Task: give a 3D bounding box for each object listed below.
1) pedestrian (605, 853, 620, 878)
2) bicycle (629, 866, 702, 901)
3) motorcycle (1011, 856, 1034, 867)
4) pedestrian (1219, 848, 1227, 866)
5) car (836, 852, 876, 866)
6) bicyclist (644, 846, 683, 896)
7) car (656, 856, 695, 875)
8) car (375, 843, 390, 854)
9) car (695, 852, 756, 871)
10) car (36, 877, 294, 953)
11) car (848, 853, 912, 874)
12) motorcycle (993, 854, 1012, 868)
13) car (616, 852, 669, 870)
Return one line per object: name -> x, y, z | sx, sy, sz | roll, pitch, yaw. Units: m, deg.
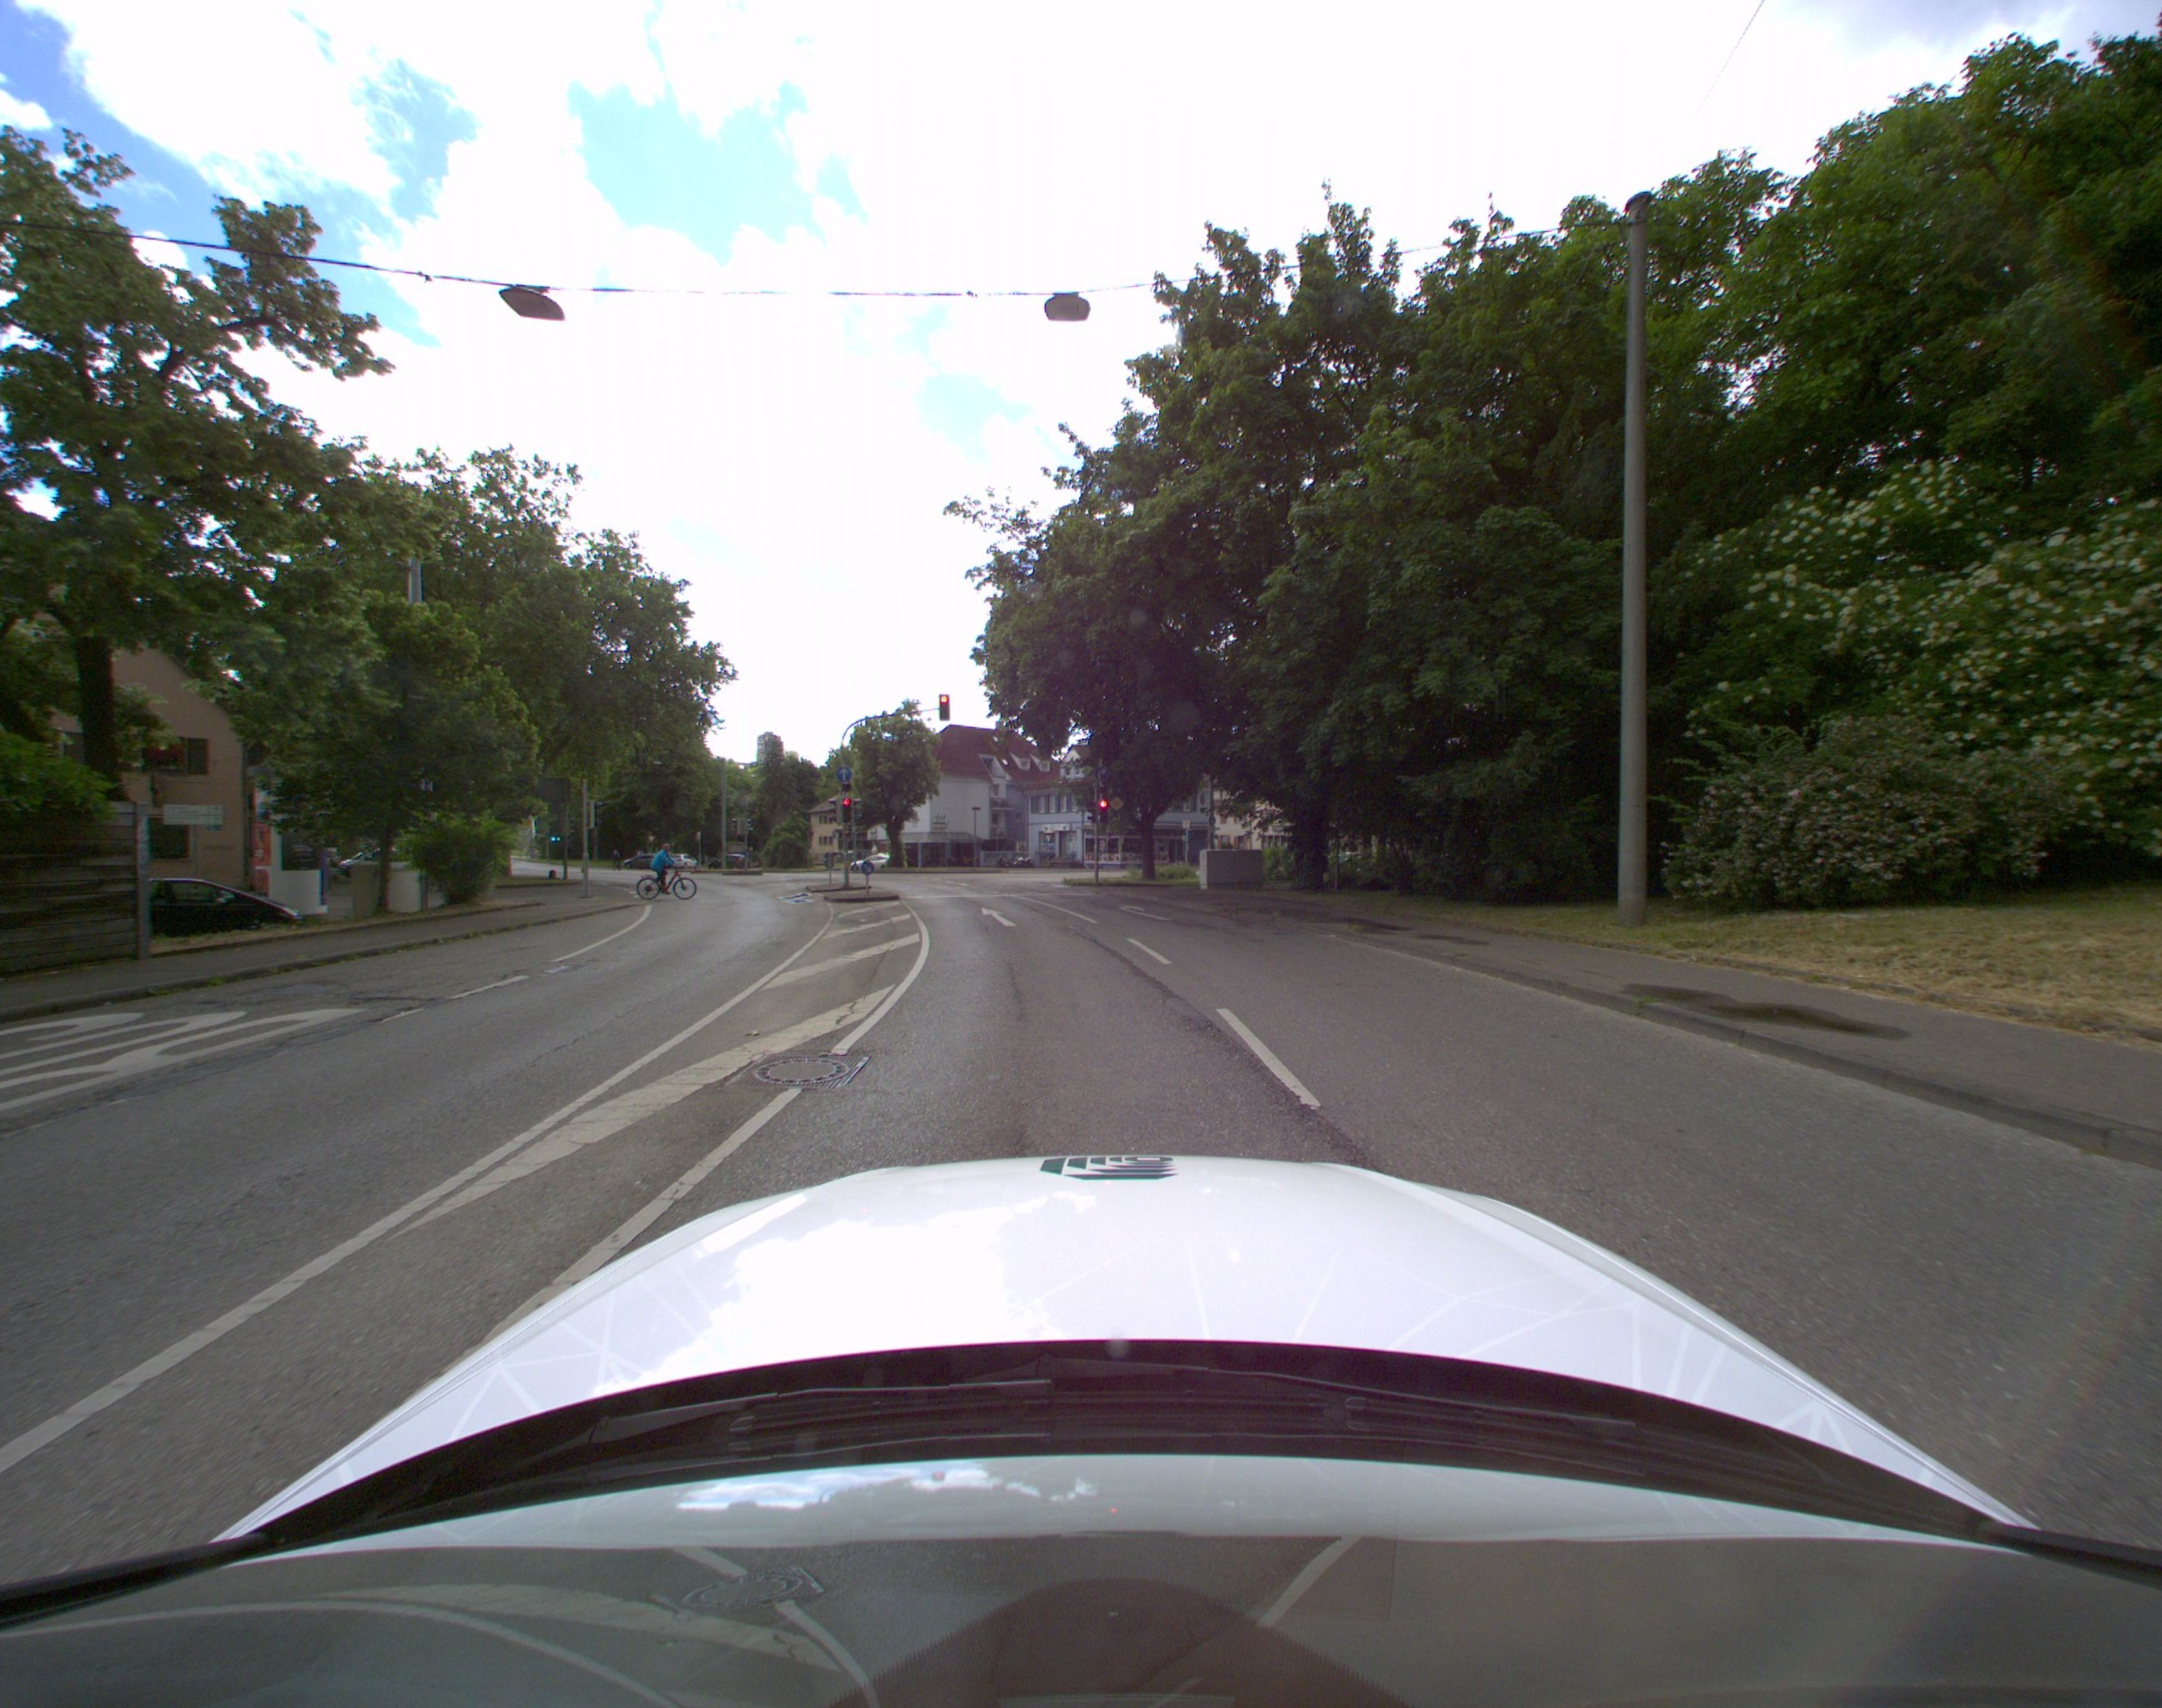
pedestrian -> -41.343, 0.990, 71.901 | 0.850, 2.178, 0.780 | -1, 0, 22
bicycle -> -13.558, 0.944, 26.641 | 2.080, 1.082, 0.933 | -1, 0, -25
motorcycle -> -5.009, 0.684, 70.120 | 1.821, 0.848, 0.563 | -1, 5, 20
pedestrian -> 12.599, 0.266, 72.105 | 0.407, 1.552, 0.494 | -2, 0, -44
car -> -25.372, 0.545, 91.960 | 4.017, 1.486, 1.741 | -2, 0, -35
bicyclist -> -13.622, 0.536, 26.602 | 1.104, 1.599, 0.933 | -1, 0, -25
car -> -39.916, 1.110, 80.300 | 1.989, 1.772, 3.996 | -2, 0, -3
car -> -128.219, -1.045, 149.423 | 2.010, 1.881, 3.953 | -2, 0, -40
car -> -30.349, 0.623, 69.561 | 4.540, 1.517, 2.010 | -1, 0, 19
car -> -20.352, 1.282, 18.309 | 1.715, 1.373, 3.714 | -1, 0, 42
car -> -15.950, 0.719, 64.602 | 4.540, 1.517, 2.010 | -1, 0, 19
motorcycle -> -6.857, 0.630, 71.283 | 1.483, 1.106, 0.563 | -2, 5, 17
car -> -41.496, 0.641, 77.093 | 3.960, 1.574, 2.007 | -1, 0, 12
